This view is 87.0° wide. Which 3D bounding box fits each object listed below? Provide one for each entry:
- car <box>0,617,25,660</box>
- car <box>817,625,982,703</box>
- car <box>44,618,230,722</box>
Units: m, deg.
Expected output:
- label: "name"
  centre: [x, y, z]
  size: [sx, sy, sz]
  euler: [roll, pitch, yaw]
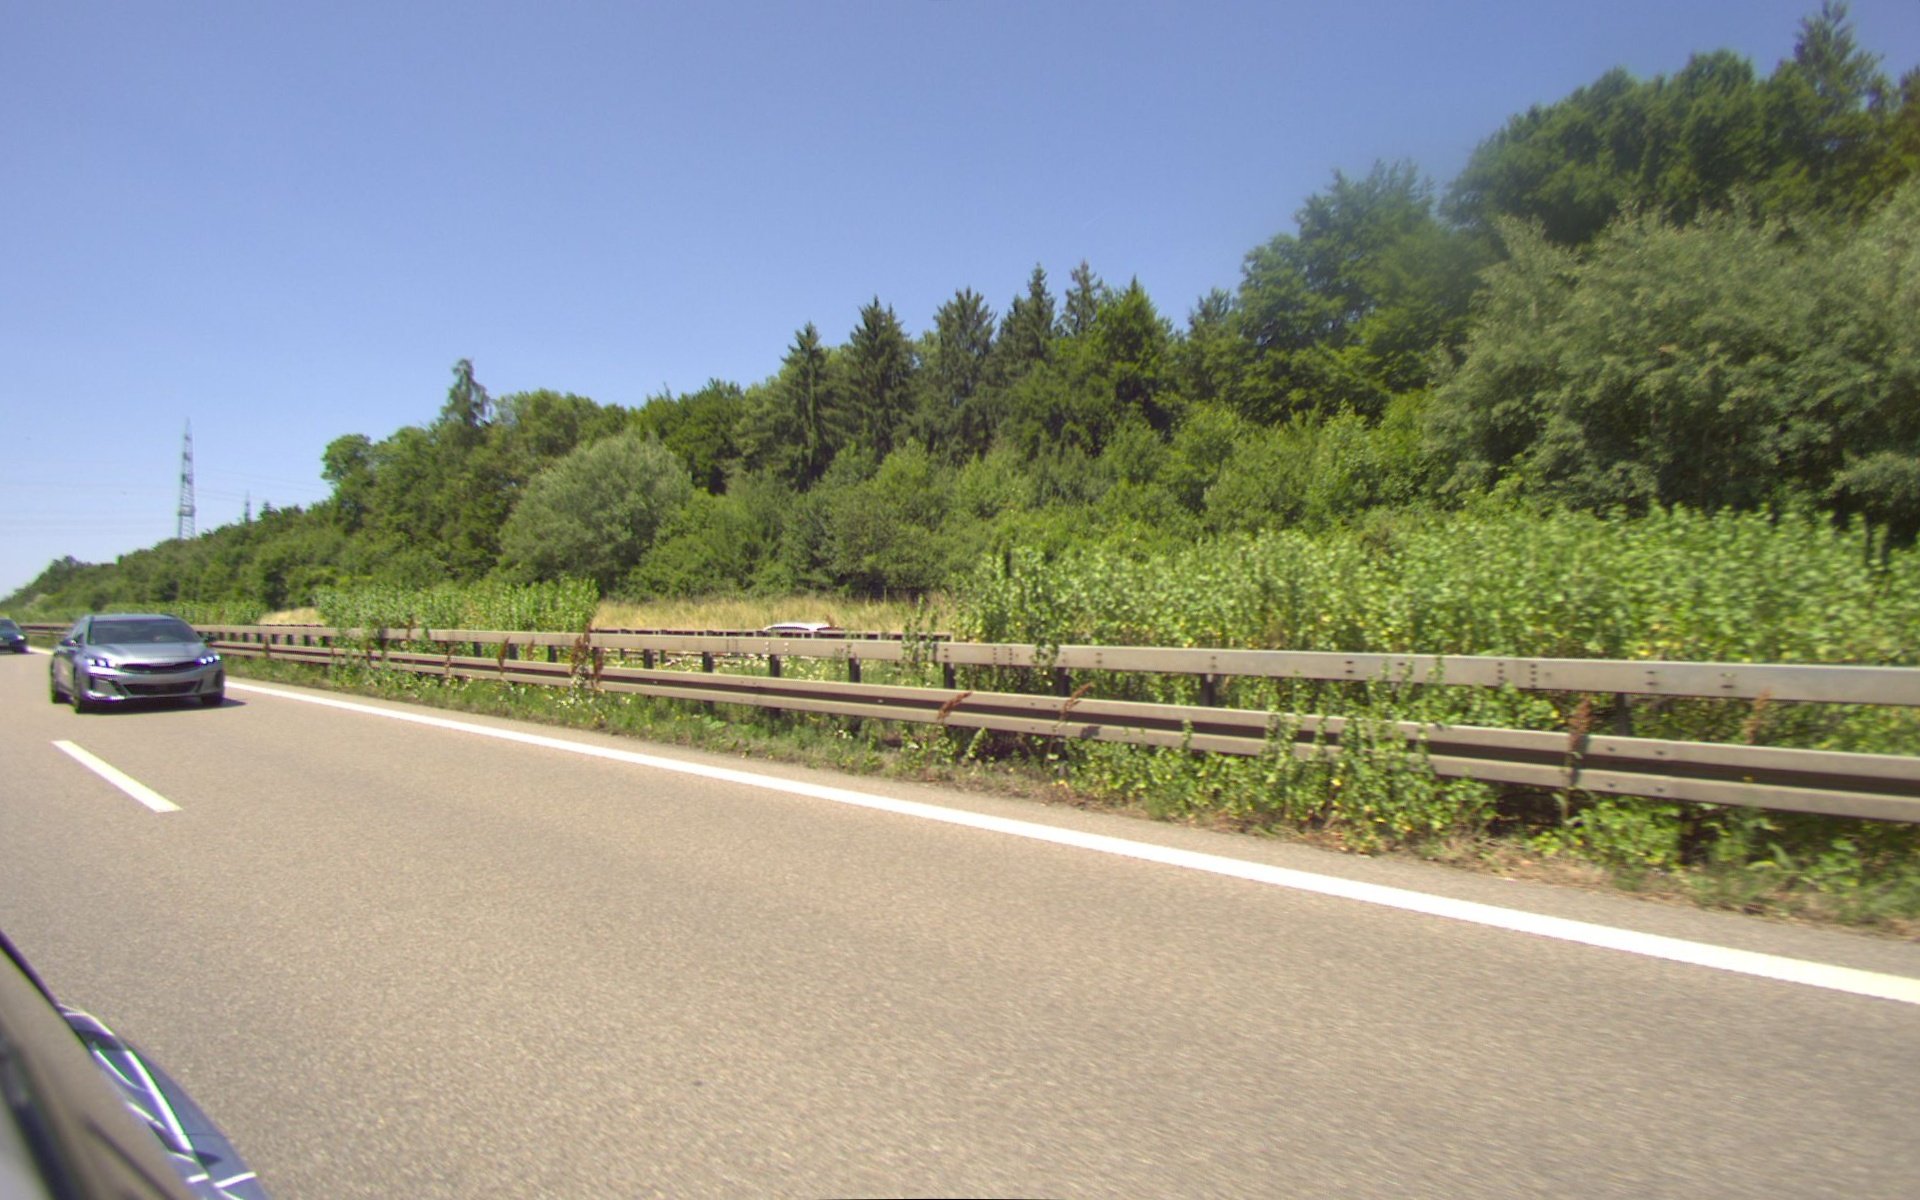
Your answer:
- label: "car"
  centre: [-38.454, 1.532, 40.042]
  size: [3.941, 1.632, 1.719]
  euler: [-1, -1, 41]
- label: "car"
  centre: [-1.564, 1.520, 25.206]
  size: [3.998, 1.741, 1.790]
  euler: [-1, -1, 41]
- label: "car"
  centre: [-13.169, 1.025, 16.111]
  size: [3.999, 1.419, 1.745]
  euler: [-1, -1, 43]
